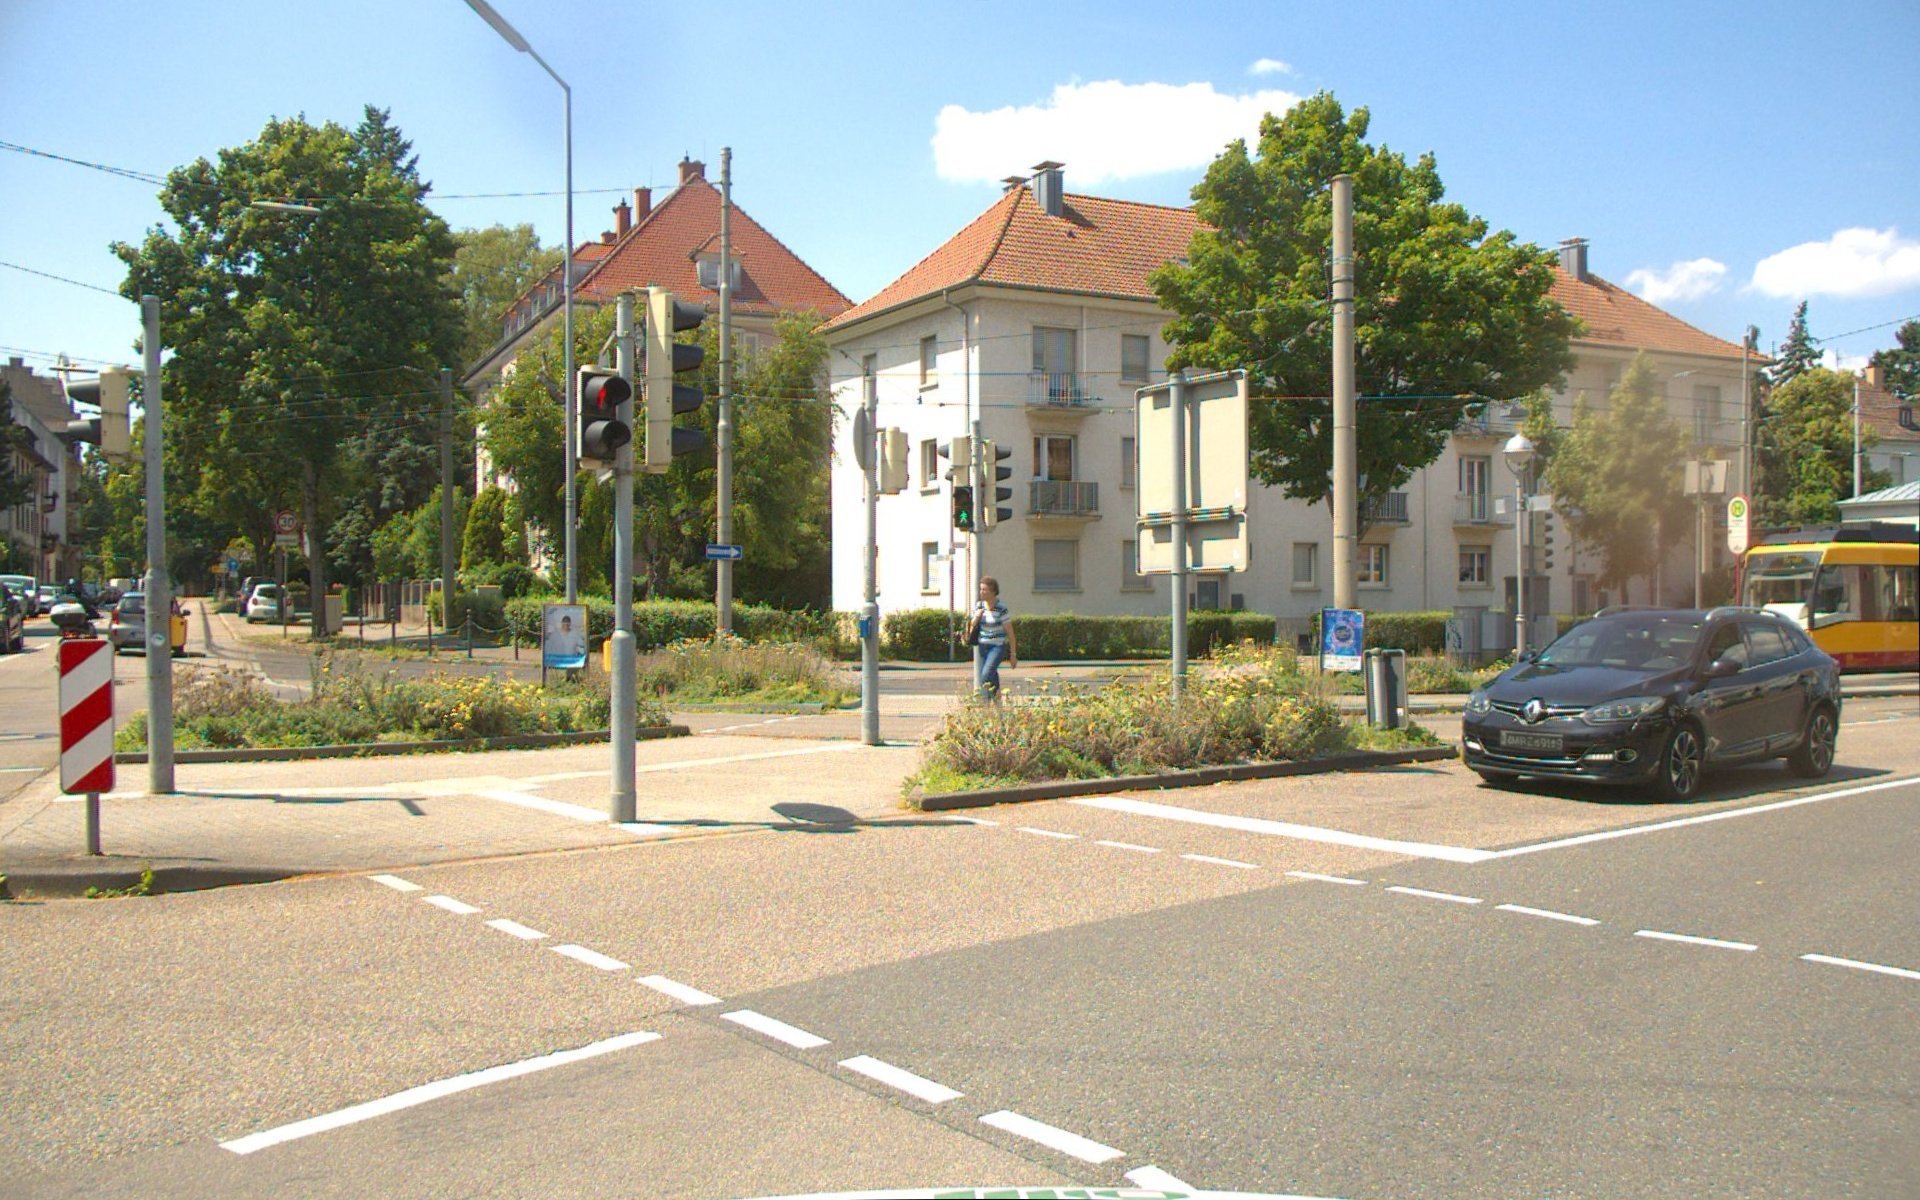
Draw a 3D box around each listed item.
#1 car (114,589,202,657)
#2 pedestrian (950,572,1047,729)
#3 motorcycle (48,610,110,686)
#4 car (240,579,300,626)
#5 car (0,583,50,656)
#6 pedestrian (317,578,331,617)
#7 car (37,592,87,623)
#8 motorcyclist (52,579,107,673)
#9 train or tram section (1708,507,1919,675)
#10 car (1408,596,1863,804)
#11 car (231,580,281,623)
[{"bbox_3d":[-19.481,0.523,40.289,1.775,1.585,4.007,0,0,-24],"label":"car"},{"bbox_3d":[0.439,0.559,18.930,0.831,1.735,0.751,0,0,-41],"label":"pedestrian"},{"bbox_3d":[-14.179,0.746,26.649,0.701,1.154,2.181,0,0,-24],"label":"motorcycle"},{"bbox_3d":[-27.767,0.079,66.472,1.969,1.839,3.966,1,0,-26],"label":"car"},{"bbox_3d":[-22.312,0.445,37.771,1.823,1.585,4.264,-2,1,-18],"label":"car"},{"bbox_3d":[-27.632,-0.119,71.860,0.501,1.685,0.463,1,0,-21],"label":"pedestrian"},{"bbox_3d":[-49.438,0.418,91.105,1.773,1.585,4.013,3,-1,-20],"label":"car"},{"bbox_3d":[-14.169,0.407,26.632,0.701,1.471,1.012,0,0,-24],"label":"motorcyclist"},{"bbox_3d":[24.116,-0.189,40.572,13.978,3.631,2.791,0,0,-29],"label":"train or tram section"},{"bbox_3d":[5.972,0.738,14.377,4.387,1.526,1.970,0,0,-42],"label":"car"},{"bbox_3d":[-33.475,0.052,78.564,1.969,1.940,3.966,1,0,-26],"label":"car"}]
